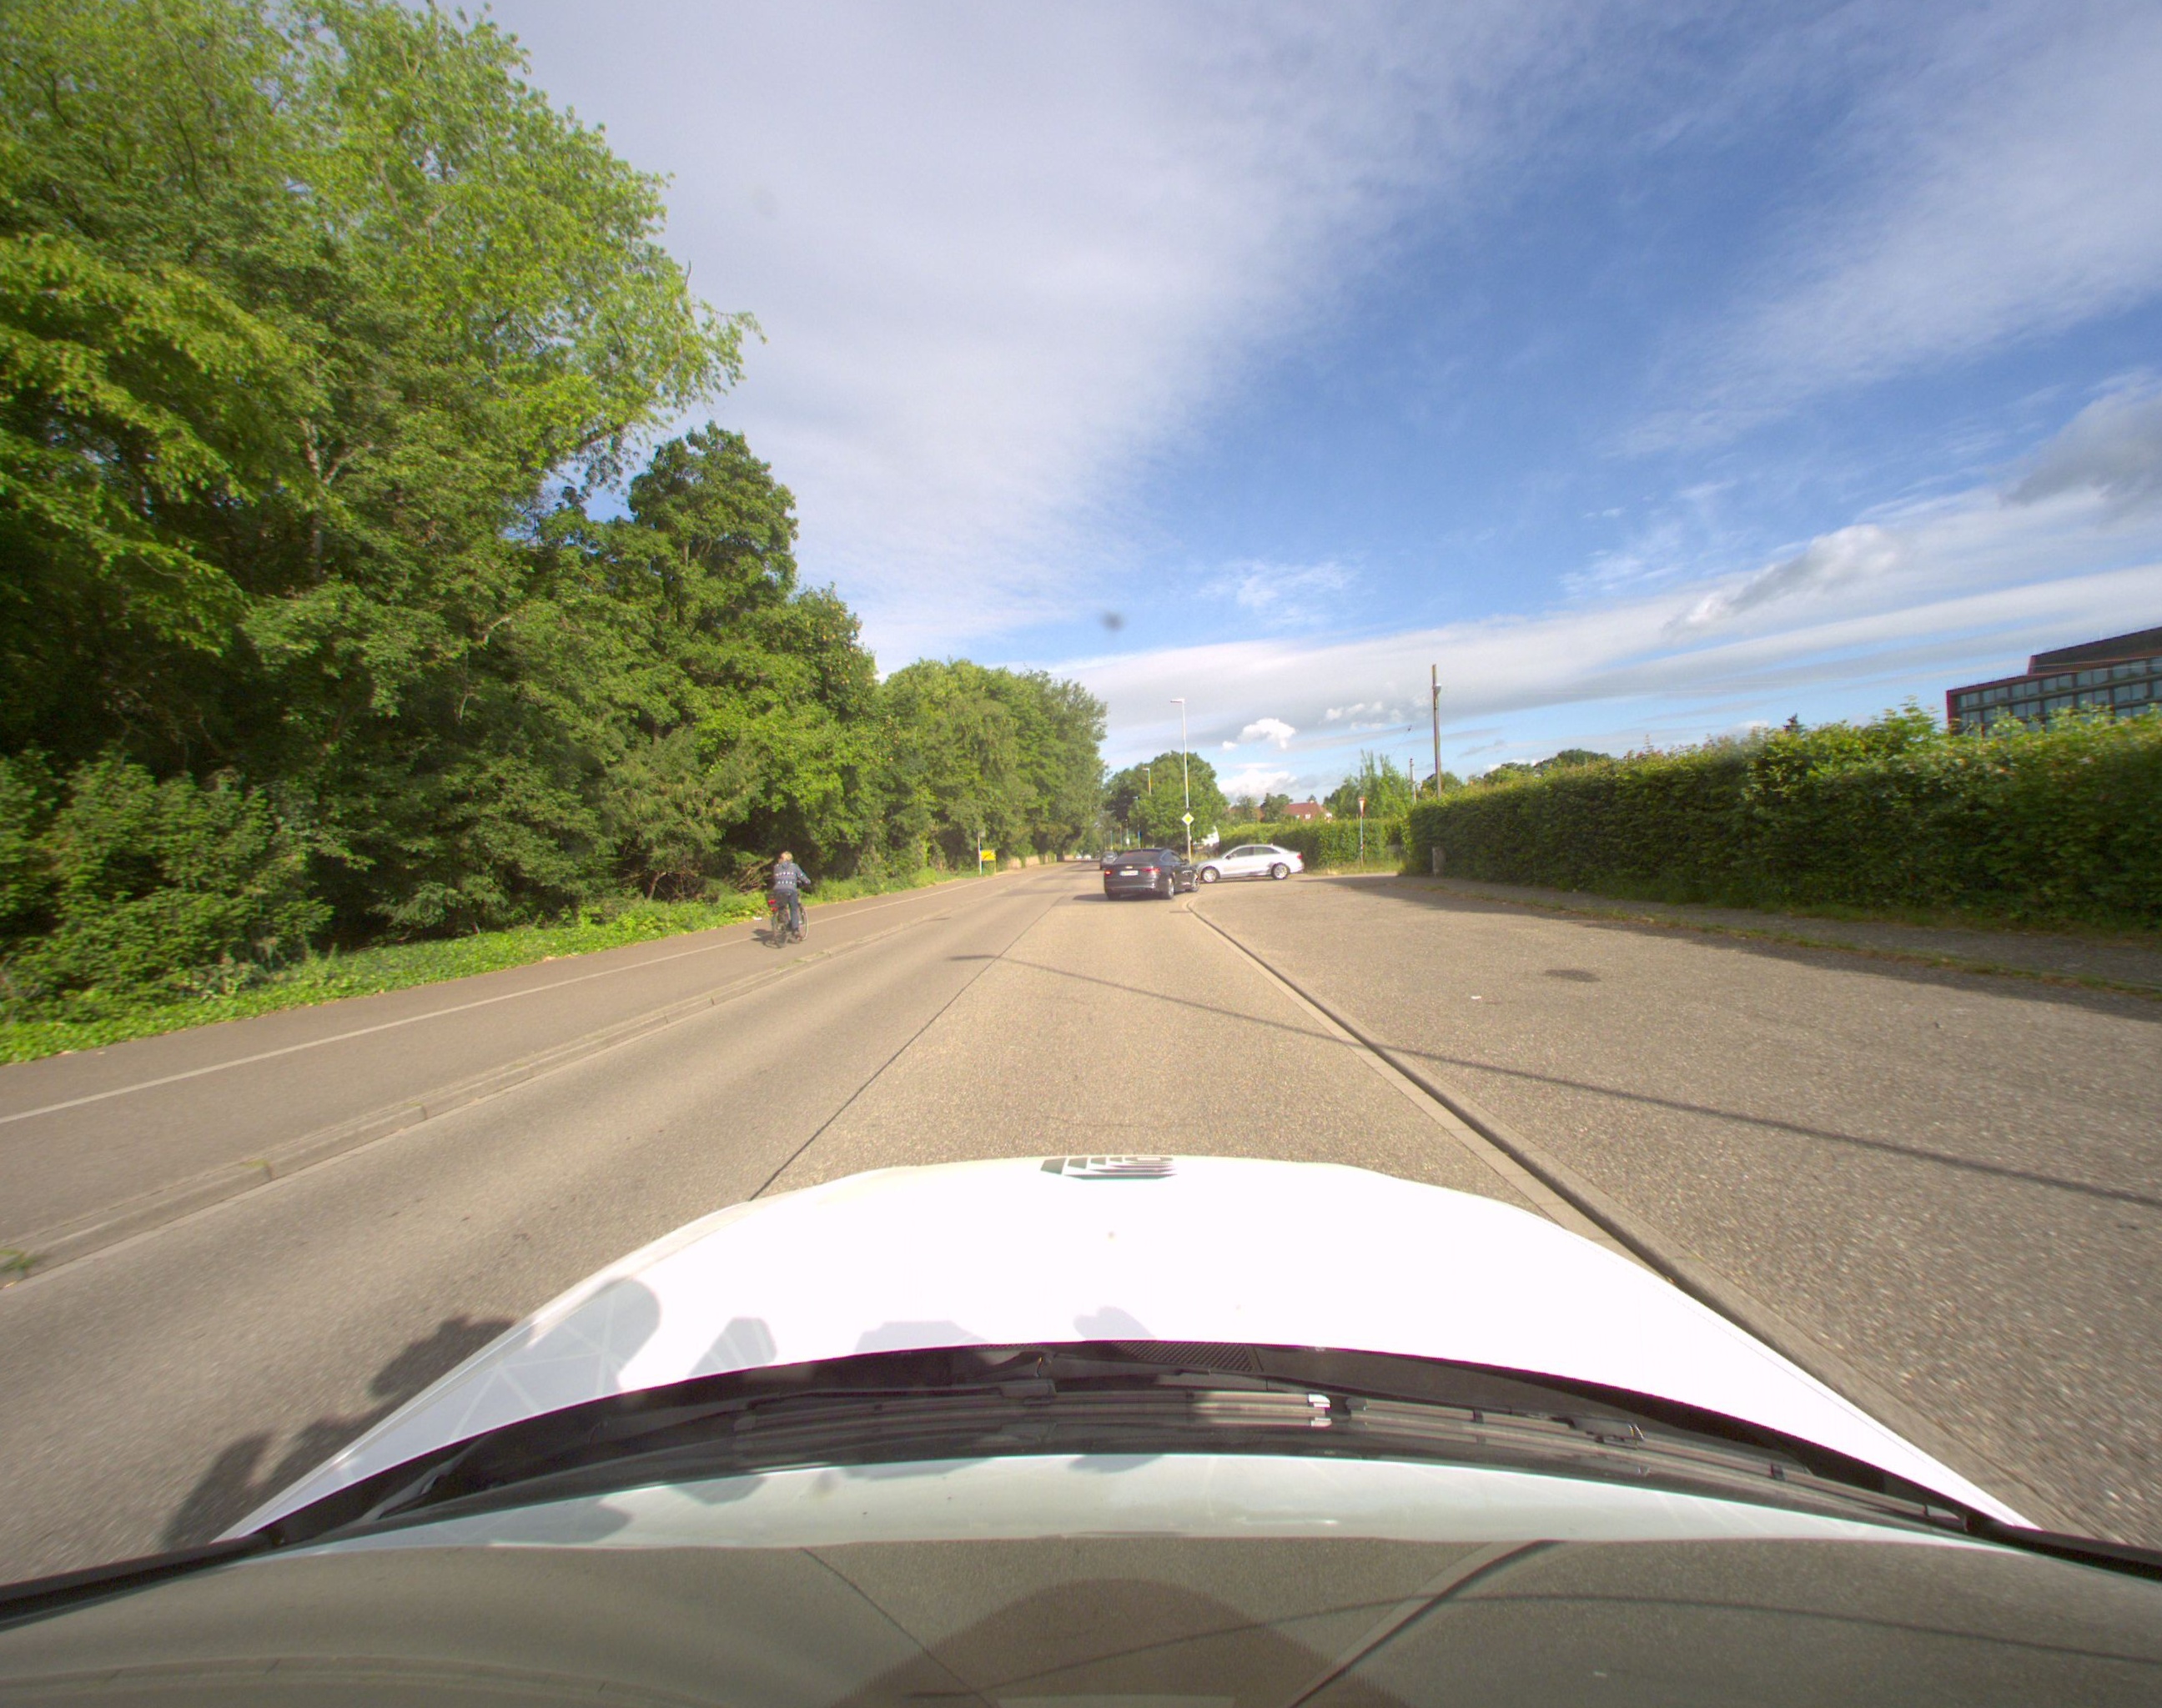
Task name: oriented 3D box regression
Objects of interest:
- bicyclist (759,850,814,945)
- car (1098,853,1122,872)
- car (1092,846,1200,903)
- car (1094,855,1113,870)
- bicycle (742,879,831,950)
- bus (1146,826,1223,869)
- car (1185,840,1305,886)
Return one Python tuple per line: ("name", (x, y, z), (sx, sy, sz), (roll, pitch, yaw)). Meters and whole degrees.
("bicyclist", (-5.396, 0.771, 14.960), (0.606, 1.676, 0.884), (-2, 0, 2))
("car", (2.322, 0.644, 66.032), (1.880, 1.372, 4.055), (-3, 0, 1))
("car", (2.005, 0.534, 23.681), (1.949, 1.434, 4.359), (-2, 0, 21))
("car", (2.371, 0.863, 87.053), (1.880, 1.465, 4.055), (-3, 0, 1))
("bicycle", (-5.378, 1.072, 15.046), (0.660, 1.097, 2.350), (-1, 0, 3))
("bus", (7.710, -0.489, 61.203), (5.350, 2.746, 2.068), (-4, 1, -1))
("car", (6.263, 0.340, 31.407), (4.337, 1.443, 1.937), (-4, 0, 8))
